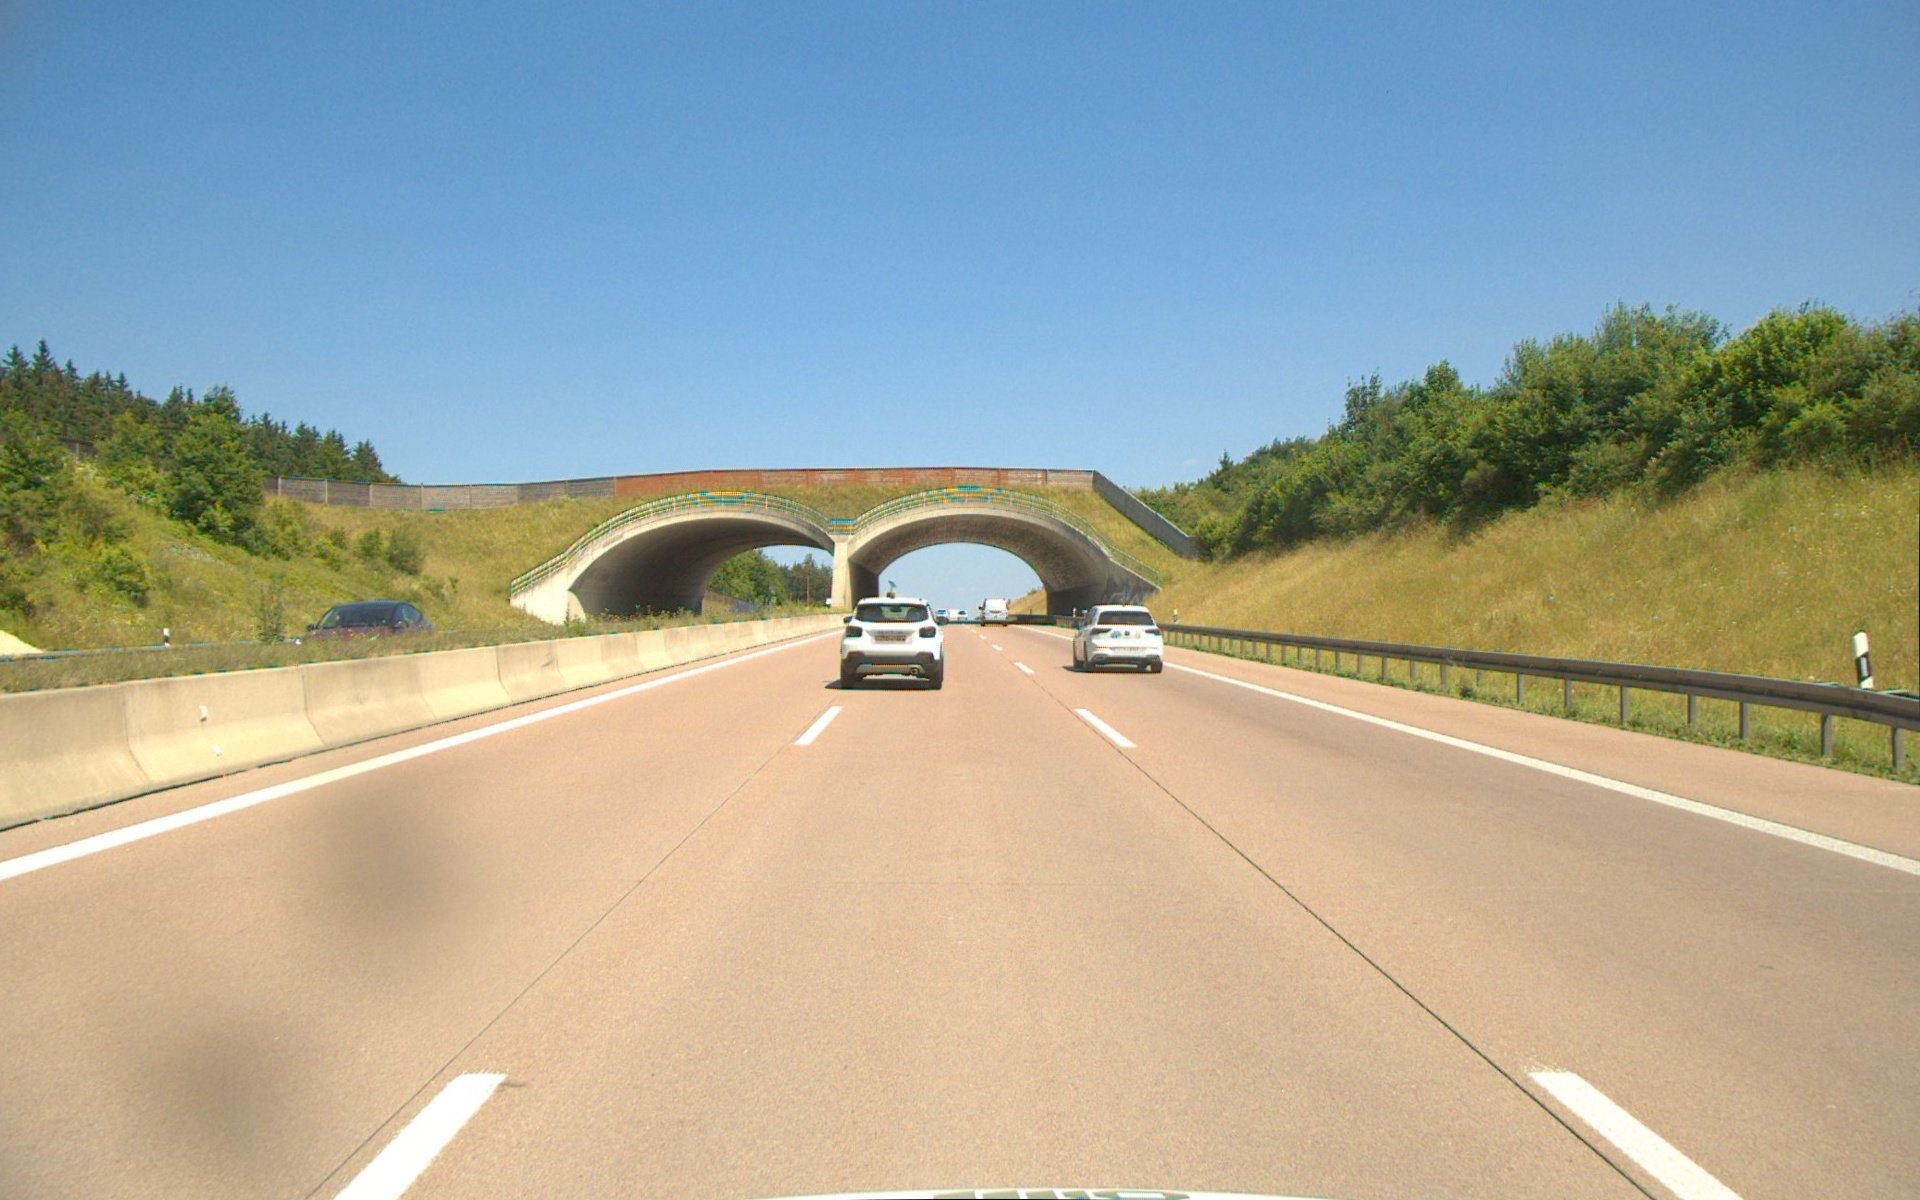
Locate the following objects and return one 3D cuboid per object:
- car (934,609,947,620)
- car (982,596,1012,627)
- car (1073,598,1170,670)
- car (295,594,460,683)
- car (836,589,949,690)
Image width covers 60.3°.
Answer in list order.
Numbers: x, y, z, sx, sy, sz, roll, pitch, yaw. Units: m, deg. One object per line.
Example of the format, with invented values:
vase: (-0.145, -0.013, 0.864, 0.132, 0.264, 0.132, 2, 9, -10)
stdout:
car: (-2.883, 2.120, 247.871, 1.852, 1.489, 4.000, 1, 1, -1)
car: (2.619, 0.802, 118.285, 2.067, 2.089, 4.001, 0, 1, 1)
car: (3.583, 0.721, 37.350, 1.852, 1.422, 4.001, 1, 1, 1)
car: (-12.101, 0.740, 34.702, 1.853, 1.621, 4.976, 1, 1, -2)
car: (-1.154, 0.631, 29.754, 1.841, 1.635, 4.833, 0, 1, -1)
